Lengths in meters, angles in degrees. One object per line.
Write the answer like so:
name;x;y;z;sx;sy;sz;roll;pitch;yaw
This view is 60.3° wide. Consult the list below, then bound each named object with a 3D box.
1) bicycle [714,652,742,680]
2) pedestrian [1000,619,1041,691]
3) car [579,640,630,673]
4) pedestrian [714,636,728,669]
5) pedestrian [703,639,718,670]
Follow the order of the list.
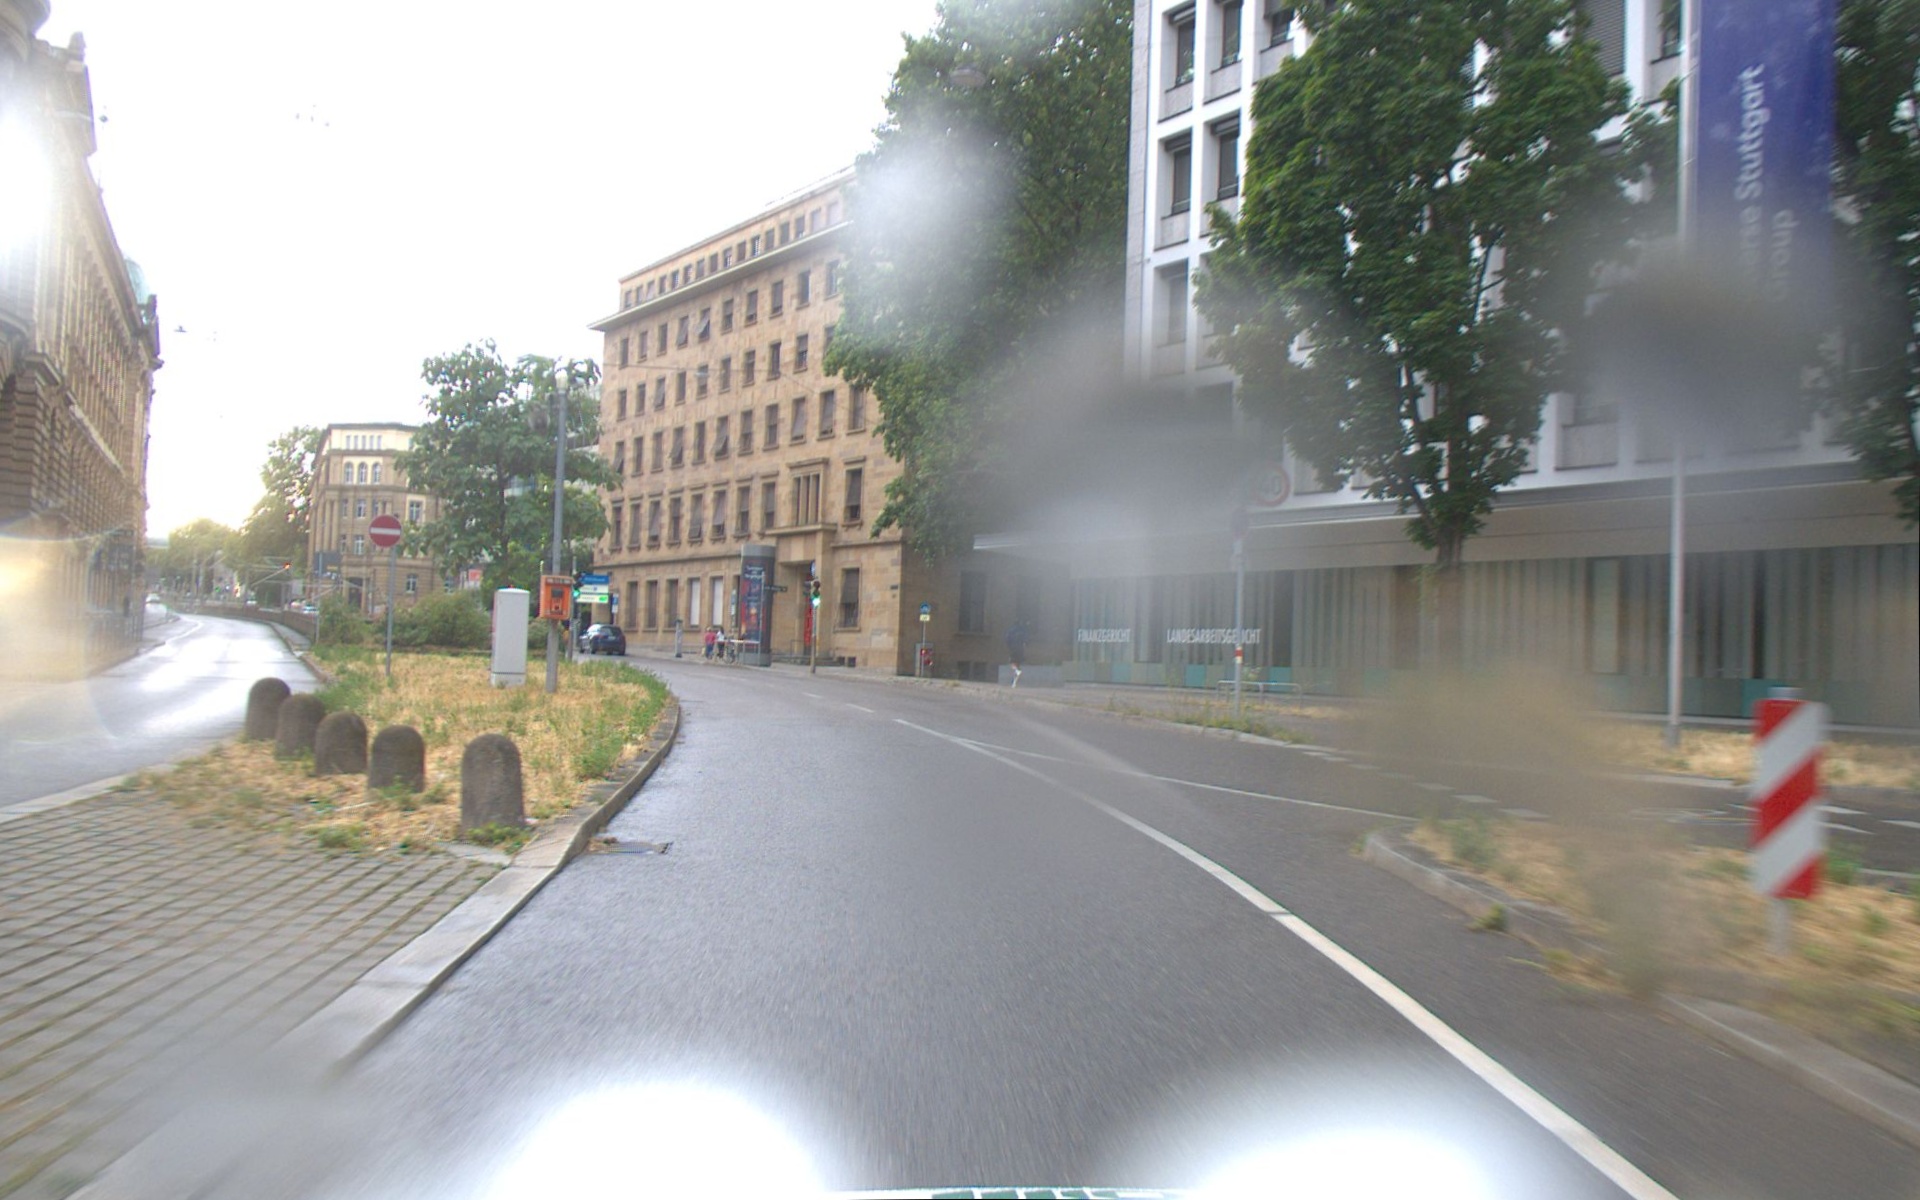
bicycle;-9.108;2.581;64.914;0.483;1.030;1.911;4;-3;-26
pedestrian;1.570;1.421;42.900;0.767;1.803;0.858;3;-2;-19
car;-19.427;3.085;90.354;1.746;1.648;4.122;4;-3;-26
pedestrian;-11.914;2.624;82.454;0.517;1.631;0.669;3;-3;-23
pedestrian;-12.398;2.696;82.216;0.518;1.518;0.668;4;-3;-25
